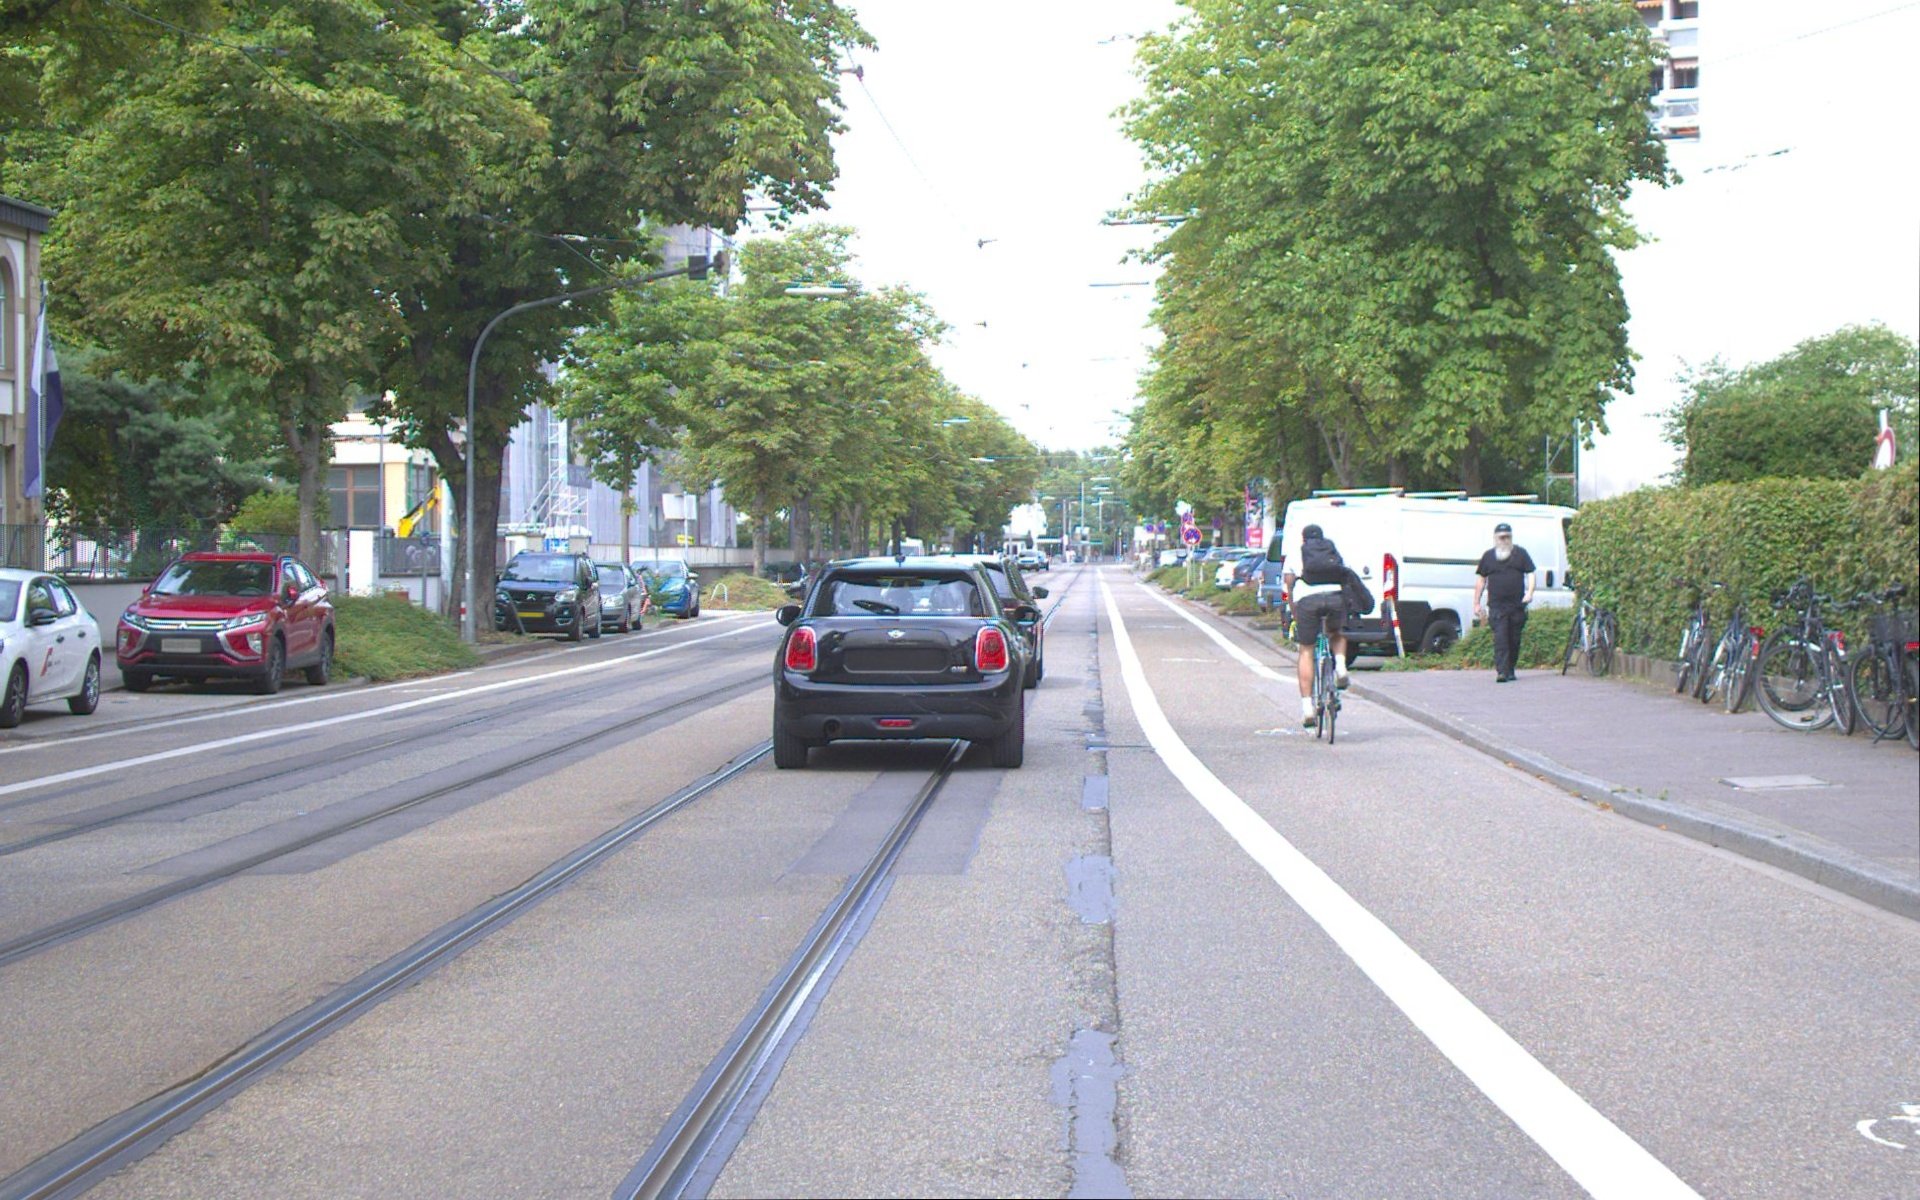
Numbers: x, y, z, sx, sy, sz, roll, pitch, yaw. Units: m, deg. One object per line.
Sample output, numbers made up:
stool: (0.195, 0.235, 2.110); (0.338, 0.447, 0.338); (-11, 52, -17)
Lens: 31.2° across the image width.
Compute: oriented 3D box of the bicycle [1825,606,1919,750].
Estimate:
bicycle: (6.191, 0.508, 23.063); (0.486, 0.904, 1.665); (-1, 0, 5)

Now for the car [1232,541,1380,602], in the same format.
car: (8.708, -0.716, 86.444); (3.729, 1.517, 1.640); (0, 1, -43)

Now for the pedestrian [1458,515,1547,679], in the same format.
pedestrian: (5.905, -0.040, 37.458); (0.785, 1.727, 0.896); (-2, 1, 2)

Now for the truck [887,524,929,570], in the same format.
truck: (-2.891, -2.915, 190.386); (2.071, 2.462, 4.899); (-1, 1, 2)

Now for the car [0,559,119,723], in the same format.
car: (-9.455, 0.340, 32.899); (1.721, 1.419, 4.023); (2, 1, 1)

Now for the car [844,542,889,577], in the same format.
car: (-4.268, -1.857, 156.903); (1.802, 1.578, 4.031); (-1, 1, 2)

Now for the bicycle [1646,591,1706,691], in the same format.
bicycle: (6.734, 0.374, 32.381); (0.386, 0.904, 1.664); (-1, 0, 7)

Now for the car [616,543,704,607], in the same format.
car: (-7.207, -0.609, 82.821); (1.693, 1.482, 3.677); (1, 1, 2)

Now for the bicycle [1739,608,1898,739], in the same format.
bicycle: (6.220, 0.516, 24.977); (0.485, 0.904, 1.665); (-1, 0, -9)

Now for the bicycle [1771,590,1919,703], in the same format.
bicycle: (7.624, 0.379, 28.515); (1.659, 0.904, 0.487); (-1, 0, 1)

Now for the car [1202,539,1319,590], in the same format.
car: (9.275, -1.101, 105.981); (3.437, 1.567, 1.560); (-1, 1, -36)

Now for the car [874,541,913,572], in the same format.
car: (-3.411, -2.244, 177.313); (1.802, 1.578, 4.031); (-1, 1, 2)

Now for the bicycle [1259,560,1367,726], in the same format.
bicycle: (2.789, 0.316, 27.304); (0.657, 1.244, 2.125); (1, 1, 1)

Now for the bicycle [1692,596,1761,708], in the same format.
bicycle: (6.543, 0.431, 29.397); (0.386, 0.904, 1.664); (-1, 0, 7)

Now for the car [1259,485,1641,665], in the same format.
car: (6.613, -0.342, 46.106); (4.944, 2.282, 2.384); (0, 1, -41)

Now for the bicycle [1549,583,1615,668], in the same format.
bicycle: (6.806, 0.268, 37.651); (0.386, 0.904, 1.842); (-1, 0, 0)

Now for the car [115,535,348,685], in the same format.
car: (-8.743, 0.077, 41.605); (1.721, 1.649, 4.542); (2, 1, 1)

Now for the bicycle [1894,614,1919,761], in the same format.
bicycle: (6.222, 0.547, 21.275); (0.485, 0.904, 1.665); (-1, 0, 2)

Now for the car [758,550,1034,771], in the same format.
car: (-0.424, 0.370, 24.572); (1.793, 1.418, 4.000); (1, 1, 0)

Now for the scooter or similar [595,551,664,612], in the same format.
scooter or similar: (-7.555, -0.426, 78.633); (1.444, 1.339, 0.700); (-1, 1, 4)

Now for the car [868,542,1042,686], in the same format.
car: (-0.090, 0.112, 38.233); (1.793, 1.465, 4.000); (2, 1, -1)

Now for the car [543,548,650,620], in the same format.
car: (-7.477, -0.346, 70.987); (1.693, 1.422, 3.868); (1, 1, 2)

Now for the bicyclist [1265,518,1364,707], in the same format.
bicyclist: (2.791, 0.086, 27.190); (0.657, 1.458, 1.178); (1, 1, 1)

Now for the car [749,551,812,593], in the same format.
car: (-6.078, -0.961, 116.660); (1.802, 1.369, 4.031); (-1, 1, 2)

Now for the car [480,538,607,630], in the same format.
car: (-7.734, -0.322, 64.133); (1.756, 1.641, 4.052); (1, 1, 2)

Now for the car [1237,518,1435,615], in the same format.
car: (8.027, -0.706, 73.158); (4.264, 2.008, 1.830); (0, 1, -43)

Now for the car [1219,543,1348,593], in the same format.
car: (9.414, -0.946, 99.950); (3.524, 1.437, 1.624); (-1, 1, -36)
